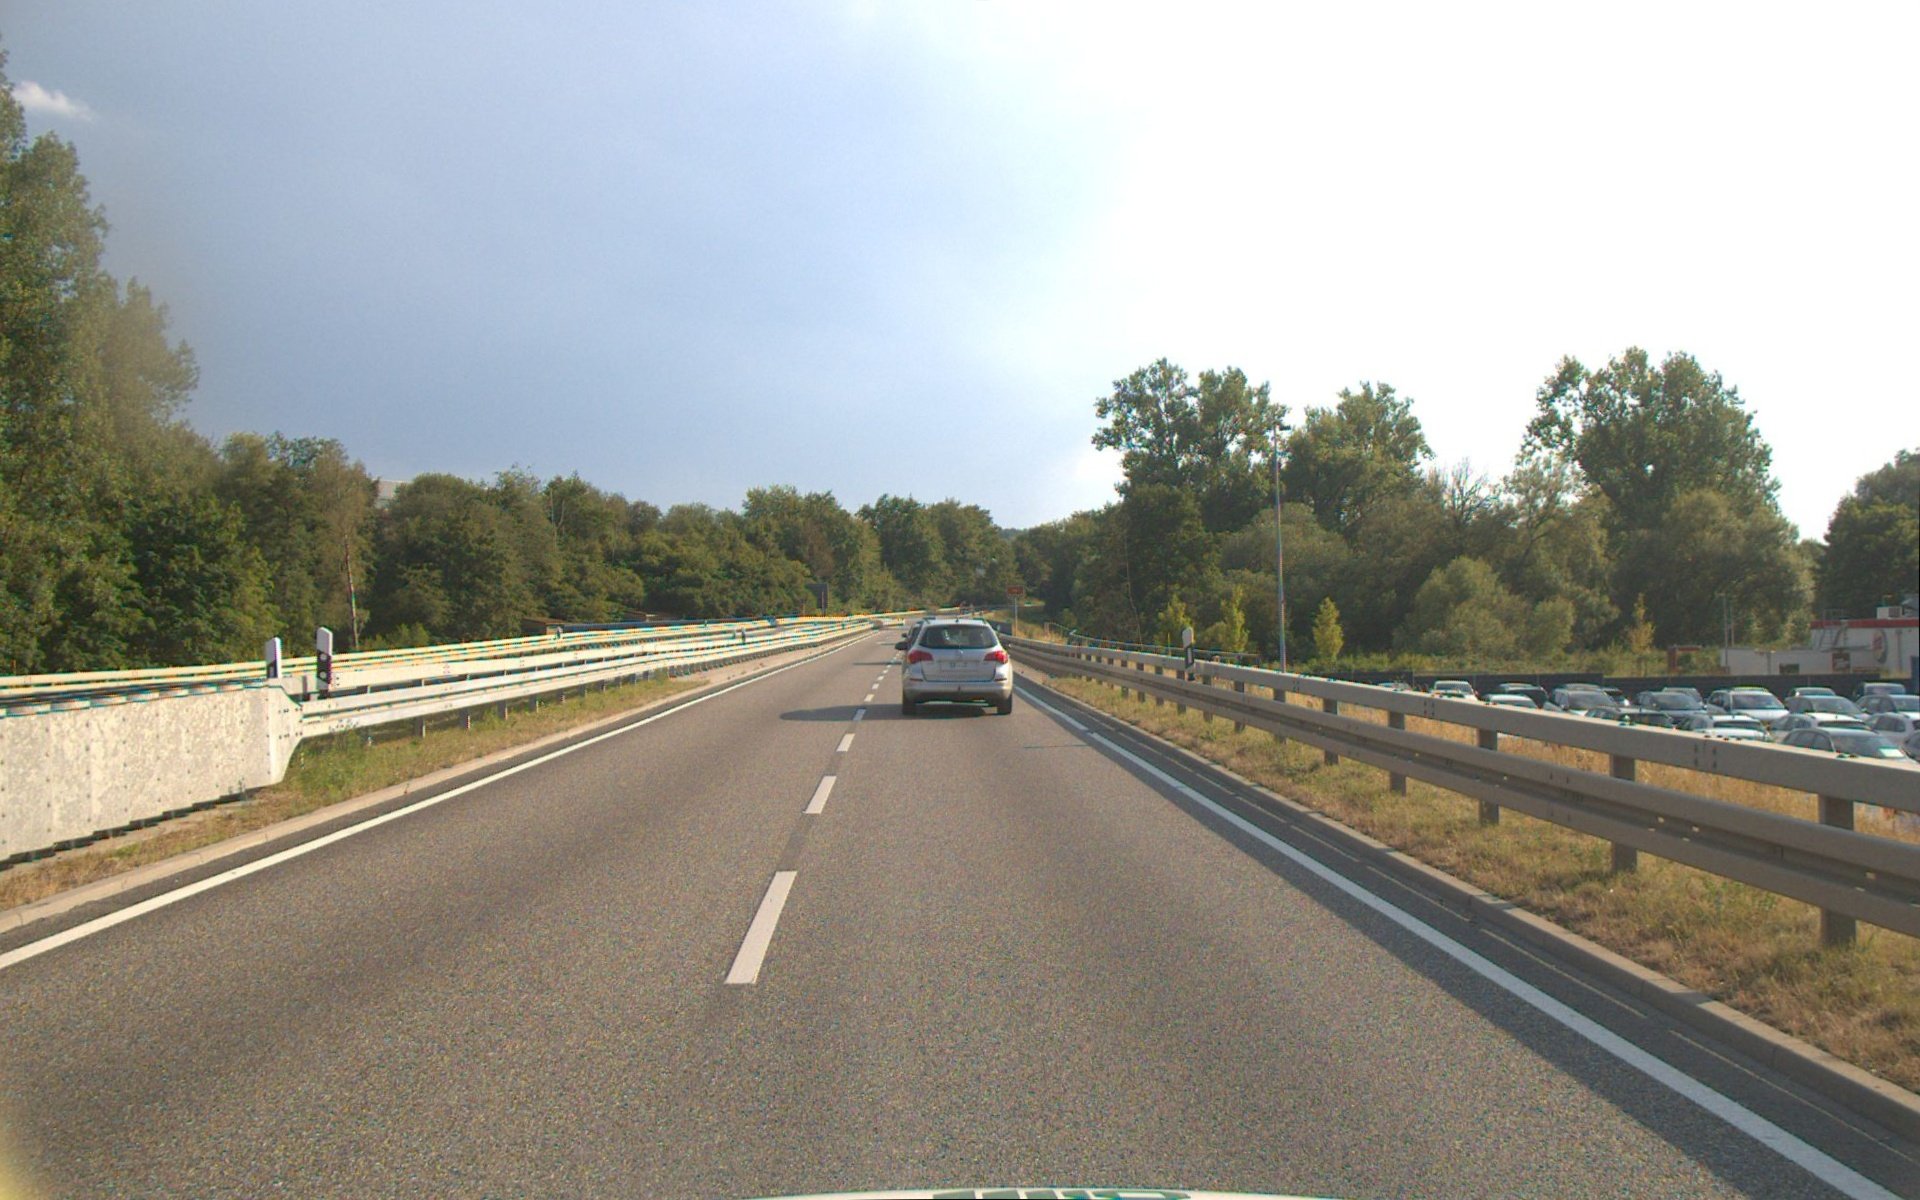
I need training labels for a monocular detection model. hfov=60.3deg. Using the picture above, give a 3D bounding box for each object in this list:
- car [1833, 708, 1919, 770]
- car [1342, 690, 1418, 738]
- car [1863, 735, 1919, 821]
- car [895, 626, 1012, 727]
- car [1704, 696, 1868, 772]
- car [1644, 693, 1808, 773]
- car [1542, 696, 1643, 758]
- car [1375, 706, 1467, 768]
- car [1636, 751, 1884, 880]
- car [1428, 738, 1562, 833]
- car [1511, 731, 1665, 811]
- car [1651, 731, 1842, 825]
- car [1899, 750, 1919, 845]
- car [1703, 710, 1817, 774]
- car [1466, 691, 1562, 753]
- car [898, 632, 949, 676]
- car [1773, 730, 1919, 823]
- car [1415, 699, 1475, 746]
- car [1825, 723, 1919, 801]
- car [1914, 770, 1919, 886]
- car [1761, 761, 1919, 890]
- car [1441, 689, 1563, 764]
[{"bbox_3d":[28.848,4.270,51.154,1.738,1.713,4.001,1,-2,3],"label":"car"},{"bbox_3d":[14.539,3.916,57.404,1.671,1.490,4.000,1,-2,1],"label":"car"},{"bbox_3d":[21.471,3.907,35.996,1.737,1.713,4.002,0,-2,5],"label":"car"},{"bbox_3d":[-0.149,1.232,27.188,1.772,1.512,3.998,1,-2,-2],"label":"car"},{"bbox_3d":[20.845,3.346,41.978,1.841,1.665,4.729,1,-2,0],"label":"car"},{"bbox_3d":[19.088,3.273,41.459,1.798,1.746,4.664,1,-2,-2],"label":"car"},{"bbox_3d":[19.332,3.853,50.710,1.738,1.713,4.001,1,-2,3],"label":"car"},{"bbox_3d":[14.311,4.220,51.524,1.739,1.713,3.999,1,-2,-1],"label":"car"},{"bbox_3d":[13.147,3.501,27.544,1.841,1.654,4.728,1,-2,0],"label":"car"},{"bbox_3d":[11.473,3.951,35.718,1.579,1.708,3.834,1,-2,-1],"label":"car"},{"bbox_3d":[15.828,4.282,41.981,1.959,1.680,4.726,1,-2,-2],"label":"car"},{"bbox_3d":[16.866,3.786,35.766,1.841,1.665,4.728,1,-2,-1],"label":"car"},{"bbox_3d":[18.085,3.522,27.978,1.840,1.665,4.730,1,-2,2],"label":"car"},{"bbox_3d":[24.413,4.305,50.645,1.738,1.713,4.001,1,-2,3],"label":"car"},{"bbox_3d":[17.055,3.723,51.097,1.738,1.713,4.000,1,-2,2],"label":"car"},{"bbox_3d":[-1.347,1.967,60.151,1.772,1.512,3.998,1,-2,-2],"label":"car"},{"bbox_3d":[19.491,3.805,36.178,1.737,1.713,4.002,0,-2,5],"label":"car"},{"bbox_3d":[19.220,4.826,65.692,1.911,1.671,4.246,0,-2,11],"label":"car"},{"bbox_3d":[23.665,4.068,41.857,1.737,1.713,4.002,0,-2,5],"label":"car"},{"bbox_3d":[14.501,3.200,21.380,1.840,1.654,4.731,1,-2,4],"label":"car"},{"bbox_3d":[15.385,3.691,27.643,1.840,1.665,4.730,1,-2,2],"label":"car"},{"bbox_3d":[13.681,3.167,41.965,1.739,1.713,3.998,1,-2,-1],"label":"car"}]
